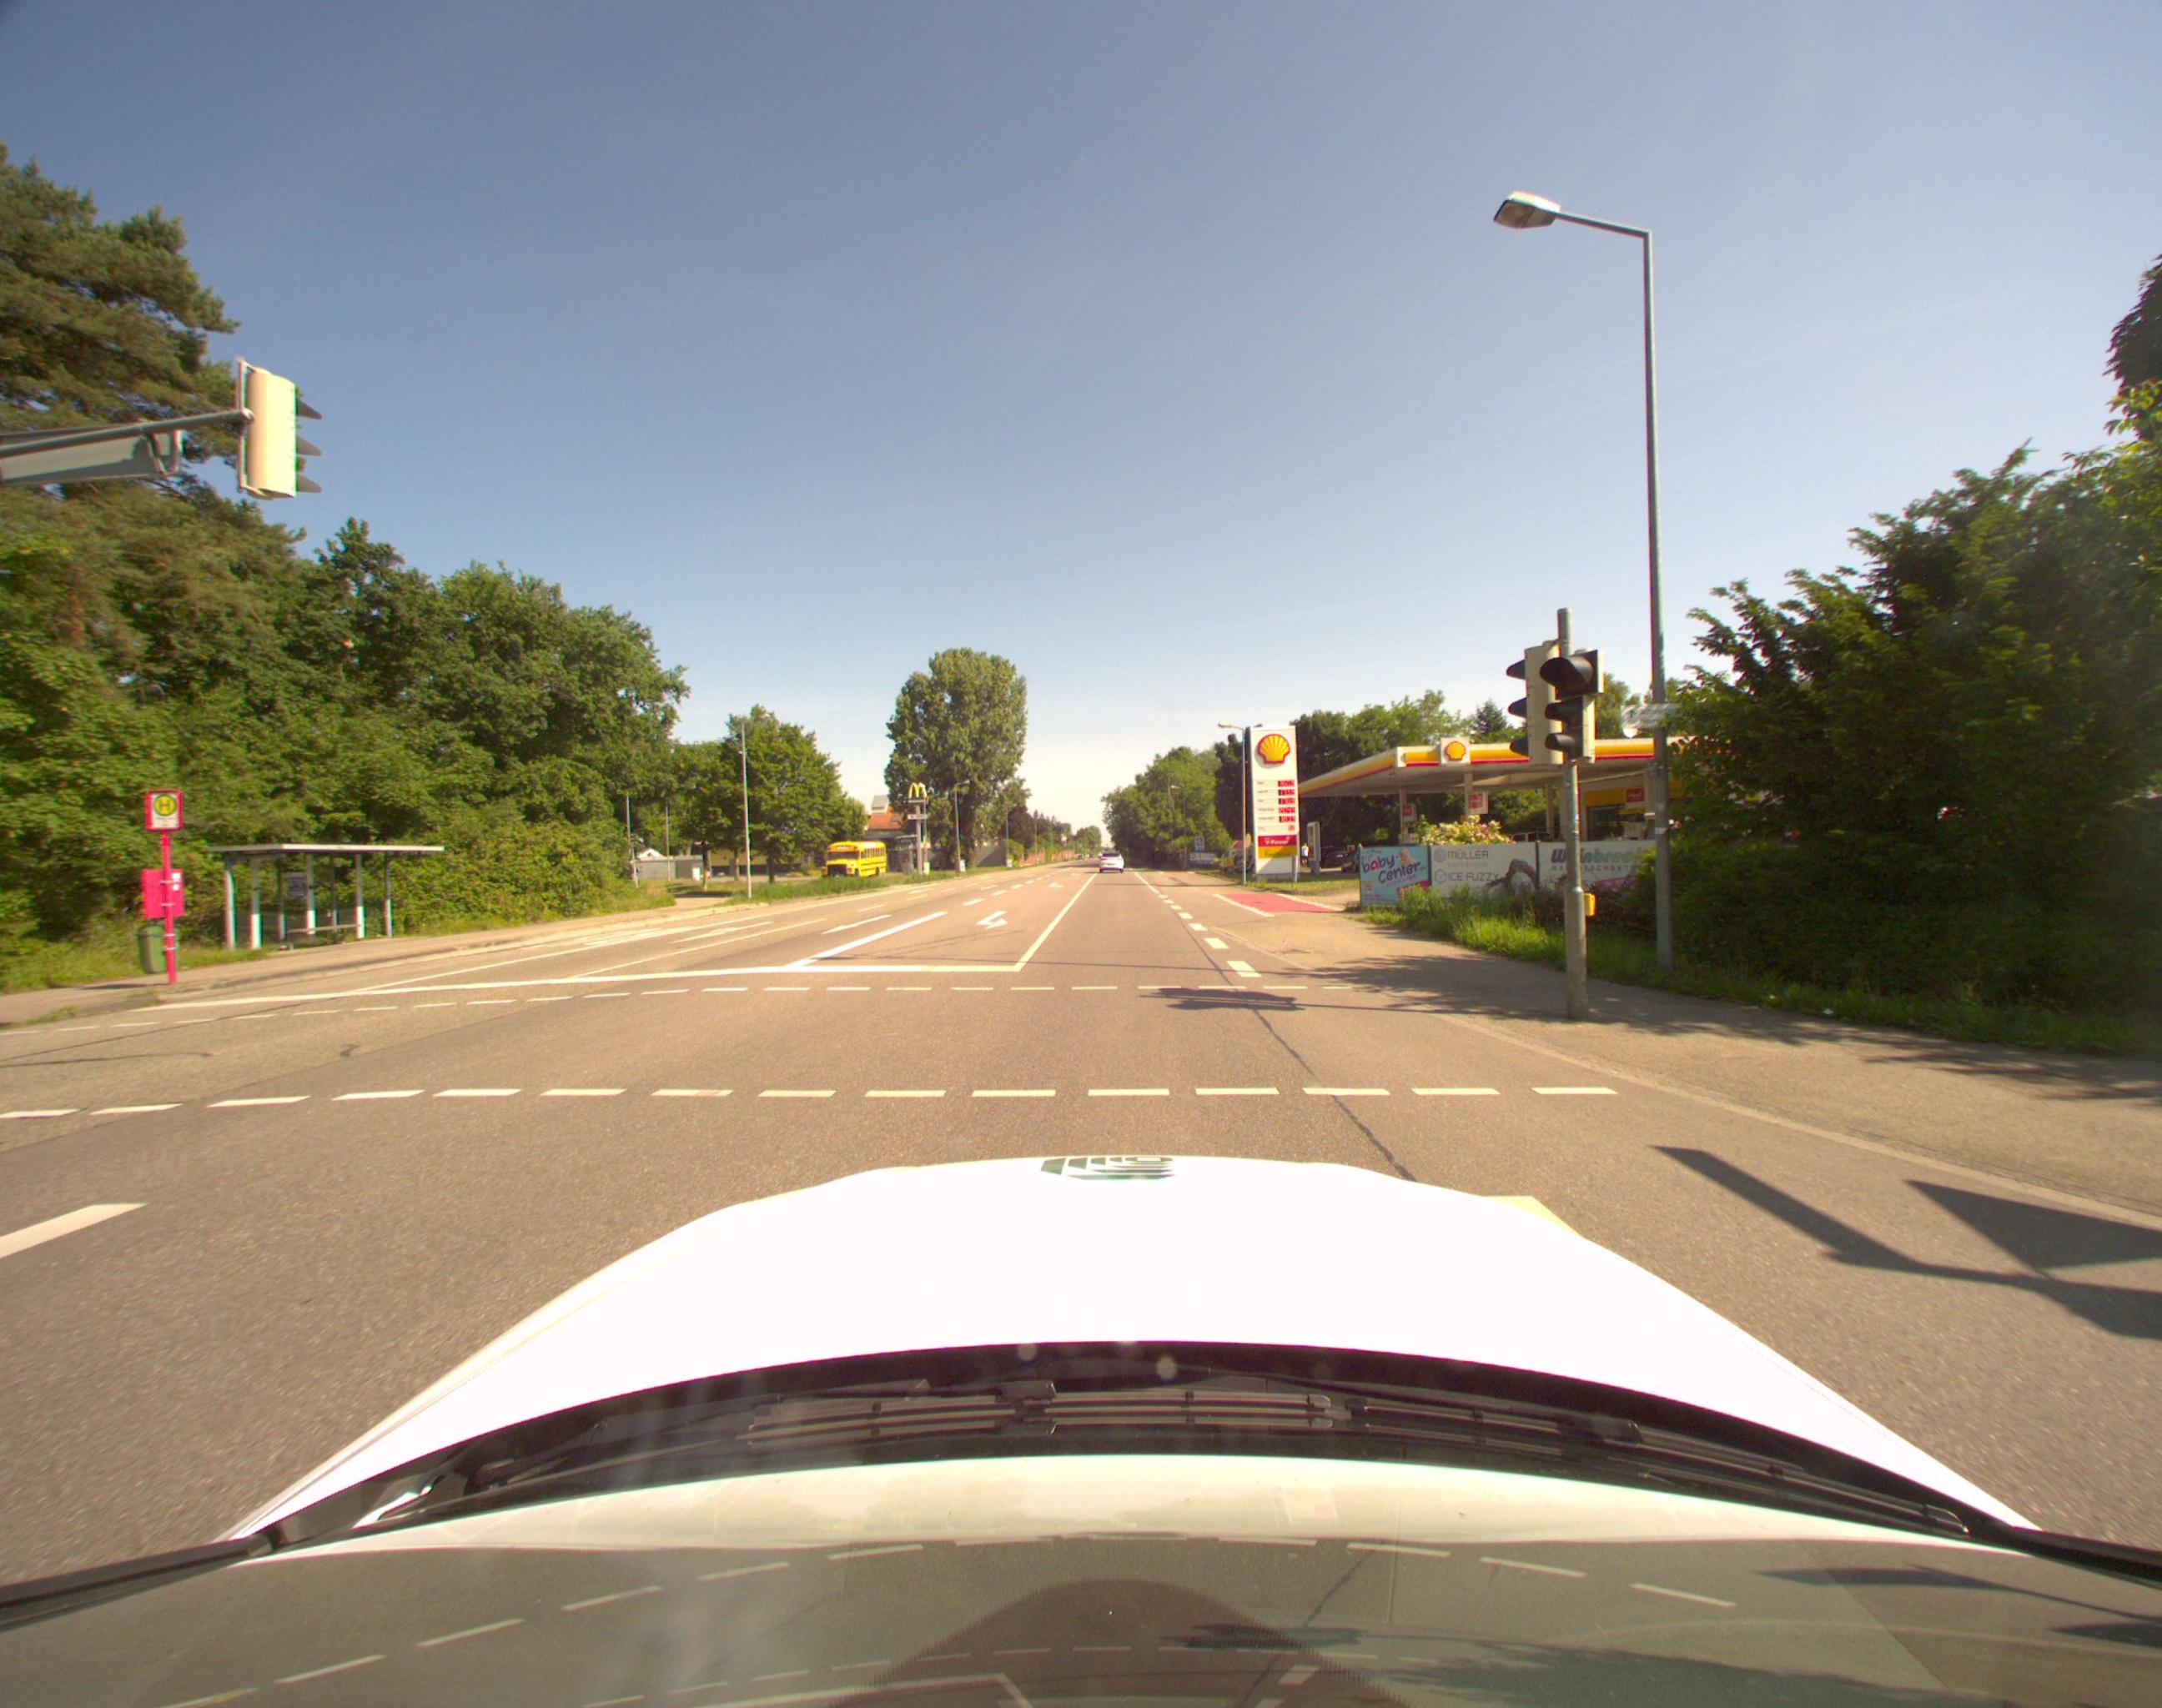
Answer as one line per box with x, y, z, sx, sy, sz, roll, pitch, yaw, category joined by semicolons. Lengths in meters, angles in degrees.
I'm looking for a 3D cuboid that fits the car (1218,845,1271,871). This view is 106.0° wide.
9.894;0.275;49.404;1.587;1.530;2.697;1;-2;-44;car

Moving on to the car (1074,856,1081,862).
-0.963;1.507;233.026;1.839;1.496;4.914;-4;-1;2;car

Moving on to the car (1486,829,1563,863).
25.432;-0.433;46.928;1.845;1.838;4.781;-2;0;1;car

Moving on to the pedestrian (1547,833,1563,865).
23.858;-0.260;40.964;0.496;1.593;0.476;-2;0;6;pedestrian

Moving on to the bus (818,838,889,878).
-16.342;0.285;59.303;2.570;2.679;8.997;0;0;1;bus

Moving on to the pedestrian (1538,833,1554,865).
23.933;-0.245;41.900;0.496;1.631;0.476;-2;0;6;pedestrian

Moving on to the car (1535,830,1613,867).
25.234;-0.266;41.839;1.818;1.728;4.007;-2;-1;6;car

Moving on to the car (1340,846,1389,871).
16.676;0.257;48.060;1.789;1.360;3.854;-2;0;5;car

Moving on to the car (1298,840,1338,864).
18.567;-0.145;64.004;1.987;1.766;3.999;0;0;0;car

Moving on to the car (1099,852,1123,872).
2.342;0.600;63.237;1.839;1.541;4.227;0;0;2;car

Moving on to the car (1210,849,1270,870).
11.311;0.388;58.112;3.980;1.530;1.583;0;-1;-5;car

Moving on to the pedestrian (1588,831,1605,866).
24.997;-0.276;39.475;0.472;1.668;0.501;-2;0;3;pedestrian

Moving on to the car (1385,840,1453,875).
16.590;0.169;40.165;1.753;1.578;3.878;-2;0;1;car
